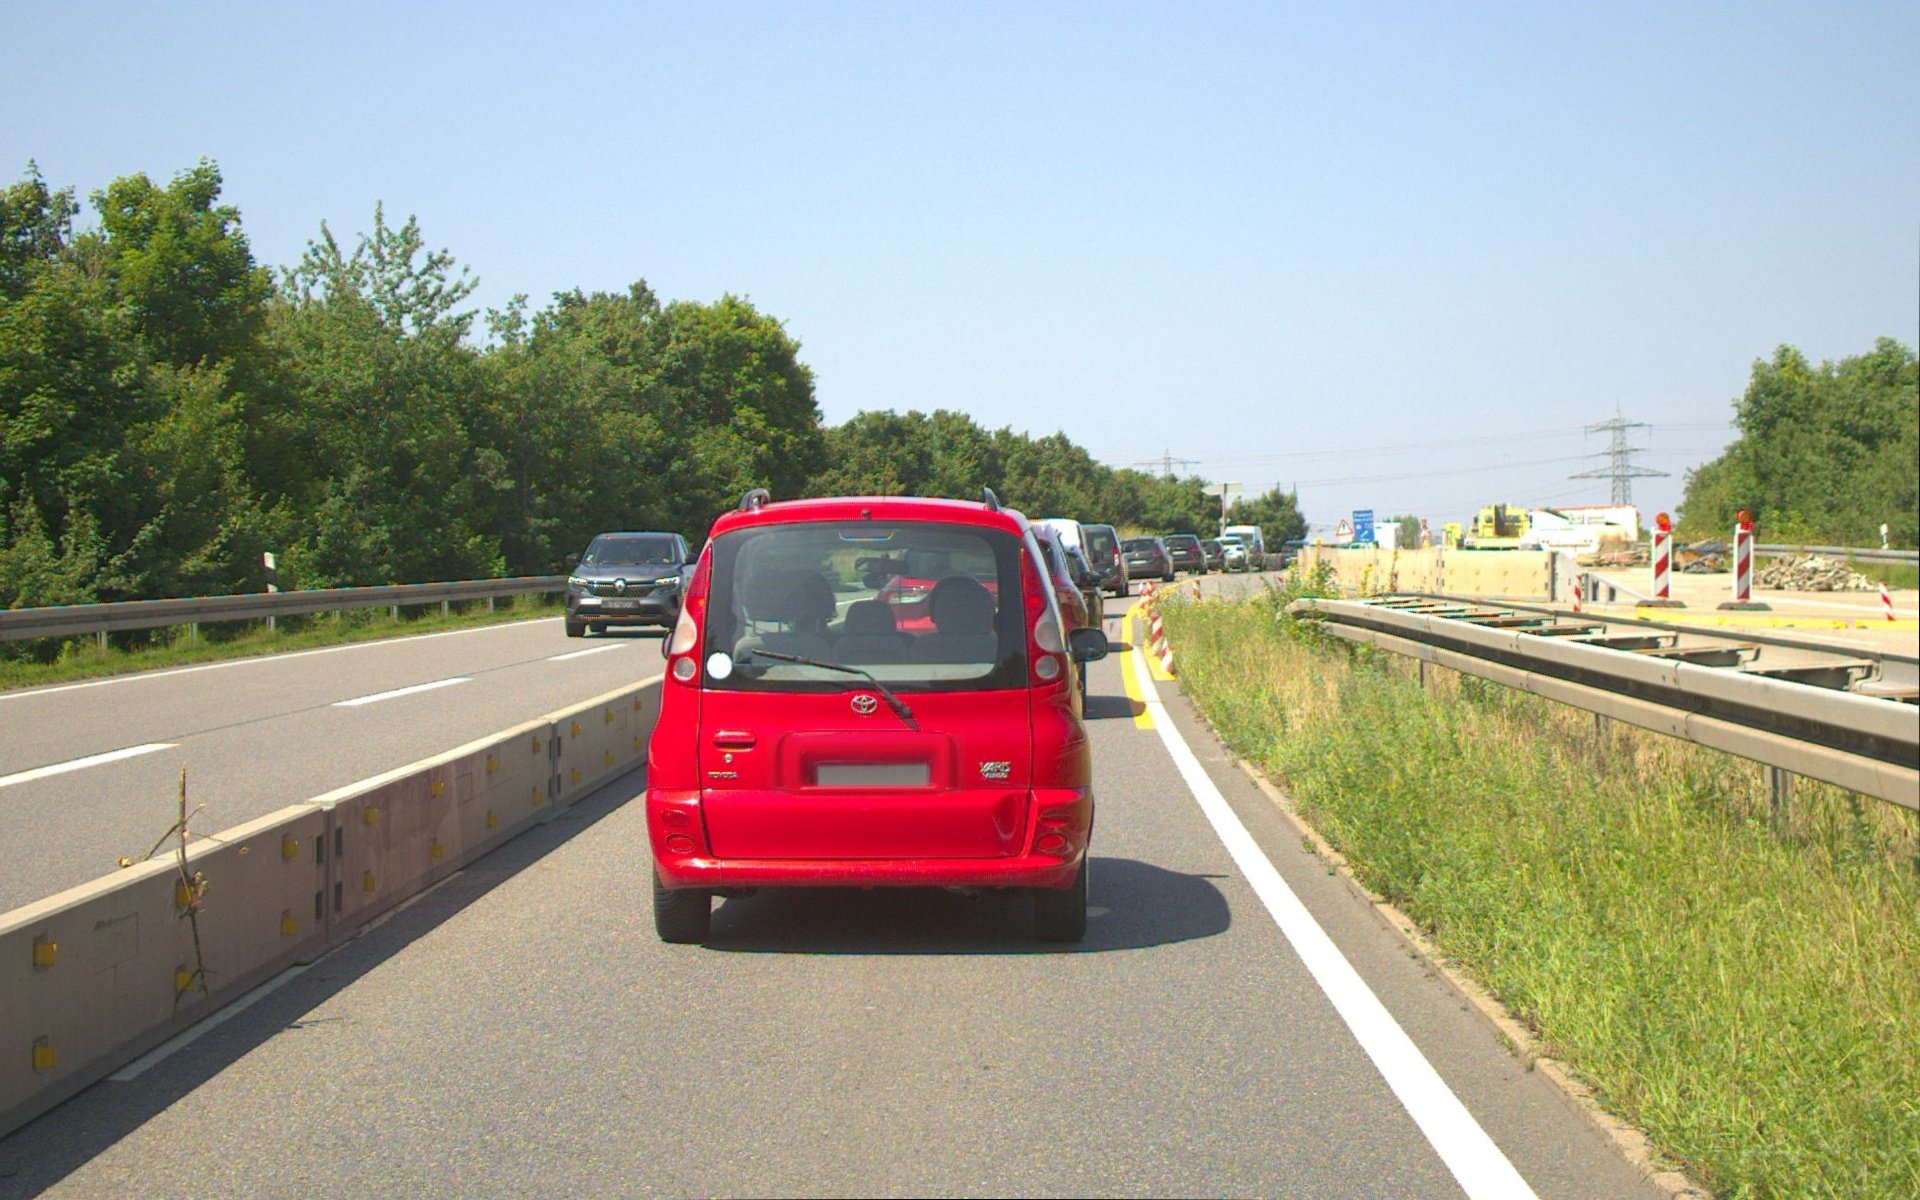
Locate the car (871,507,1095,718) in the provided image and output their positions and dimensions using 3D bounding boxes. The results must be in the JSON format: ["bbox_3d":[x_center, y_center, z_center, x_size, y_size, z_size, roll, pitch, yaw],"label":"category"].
[{"bbox_3d":[0.243,0.065,30.120,1.830,1.716,4.000,0,1,2],"label":"car"}]

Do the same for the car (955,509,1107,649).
[{"bbox_3d":[0.979,-0.319,47.116,1.993,1.831,4.000,0,1,1],"label":"car"}]

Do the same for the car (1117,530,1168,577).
[{"bbox_3d":[5.790,-1.496,109.401,1.502,1.446,3.325,-1,1,1],"label":"car"}]

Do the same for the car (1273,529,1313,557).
[{"bbox_3d":[19.566,-3.352,201.959,1.993,1.546,4.000,-1,1,1],"label":"car"}]

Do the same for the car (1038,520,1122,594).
[{"bbox_3d":[2.932,-1.065,84.066,1.993,1.744,4.000,0,1,2],"label":"car"}]

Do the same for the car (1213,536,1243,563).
[{"bbox_3d":[12.719,-2.405,163.297,1.421,1.294,2.879,0,1,4],"label":"car"}]

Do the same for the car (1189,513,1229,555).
[{"bbox_3d":[10.635,-2.823,146.956,1.502,1.730,3.170,-1,1,2],"label":"car"}]

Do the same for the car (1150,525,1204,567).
[{"bbox_3d":[8.485,-2.112,133.937,1.994,1.579,3.999,0,1,5],"label":"car"}]

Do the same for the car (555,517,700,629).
[{"bbox_3d":[-5.153,-0.452,53.758,1.857,1.632,4.385,-1,1,-1],"label":"car"}]

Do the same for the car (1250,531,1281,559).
[{"bbox_3d":[15.752,-2.851,177.497,1.502,1.446,3.170,0,1,4],"label":"car"}]

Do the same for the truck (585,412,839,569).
[{"bbox_3d":[-8.816,-3.901,122.989,8.621,5.357,3.389,-1,1,3],"label":"truck"}]

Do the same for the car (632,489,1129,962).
[{"bbox_3d":[-0.290,0.410,14.113,1.751,1.667,4.000,0,1,0],"label":"car"}]

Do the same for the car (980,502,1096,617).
[{"bbox_3d":[1.384,-0.746,62.534,1.993,1.997,4.000,1,1,0],"label":"car"}]

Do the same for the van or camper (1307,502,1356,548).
[{"bbox_3d":[21.927,-4.414,202.903,2.328,2.697,4.593,-1,1,-1],"label":"van or camper"}]
